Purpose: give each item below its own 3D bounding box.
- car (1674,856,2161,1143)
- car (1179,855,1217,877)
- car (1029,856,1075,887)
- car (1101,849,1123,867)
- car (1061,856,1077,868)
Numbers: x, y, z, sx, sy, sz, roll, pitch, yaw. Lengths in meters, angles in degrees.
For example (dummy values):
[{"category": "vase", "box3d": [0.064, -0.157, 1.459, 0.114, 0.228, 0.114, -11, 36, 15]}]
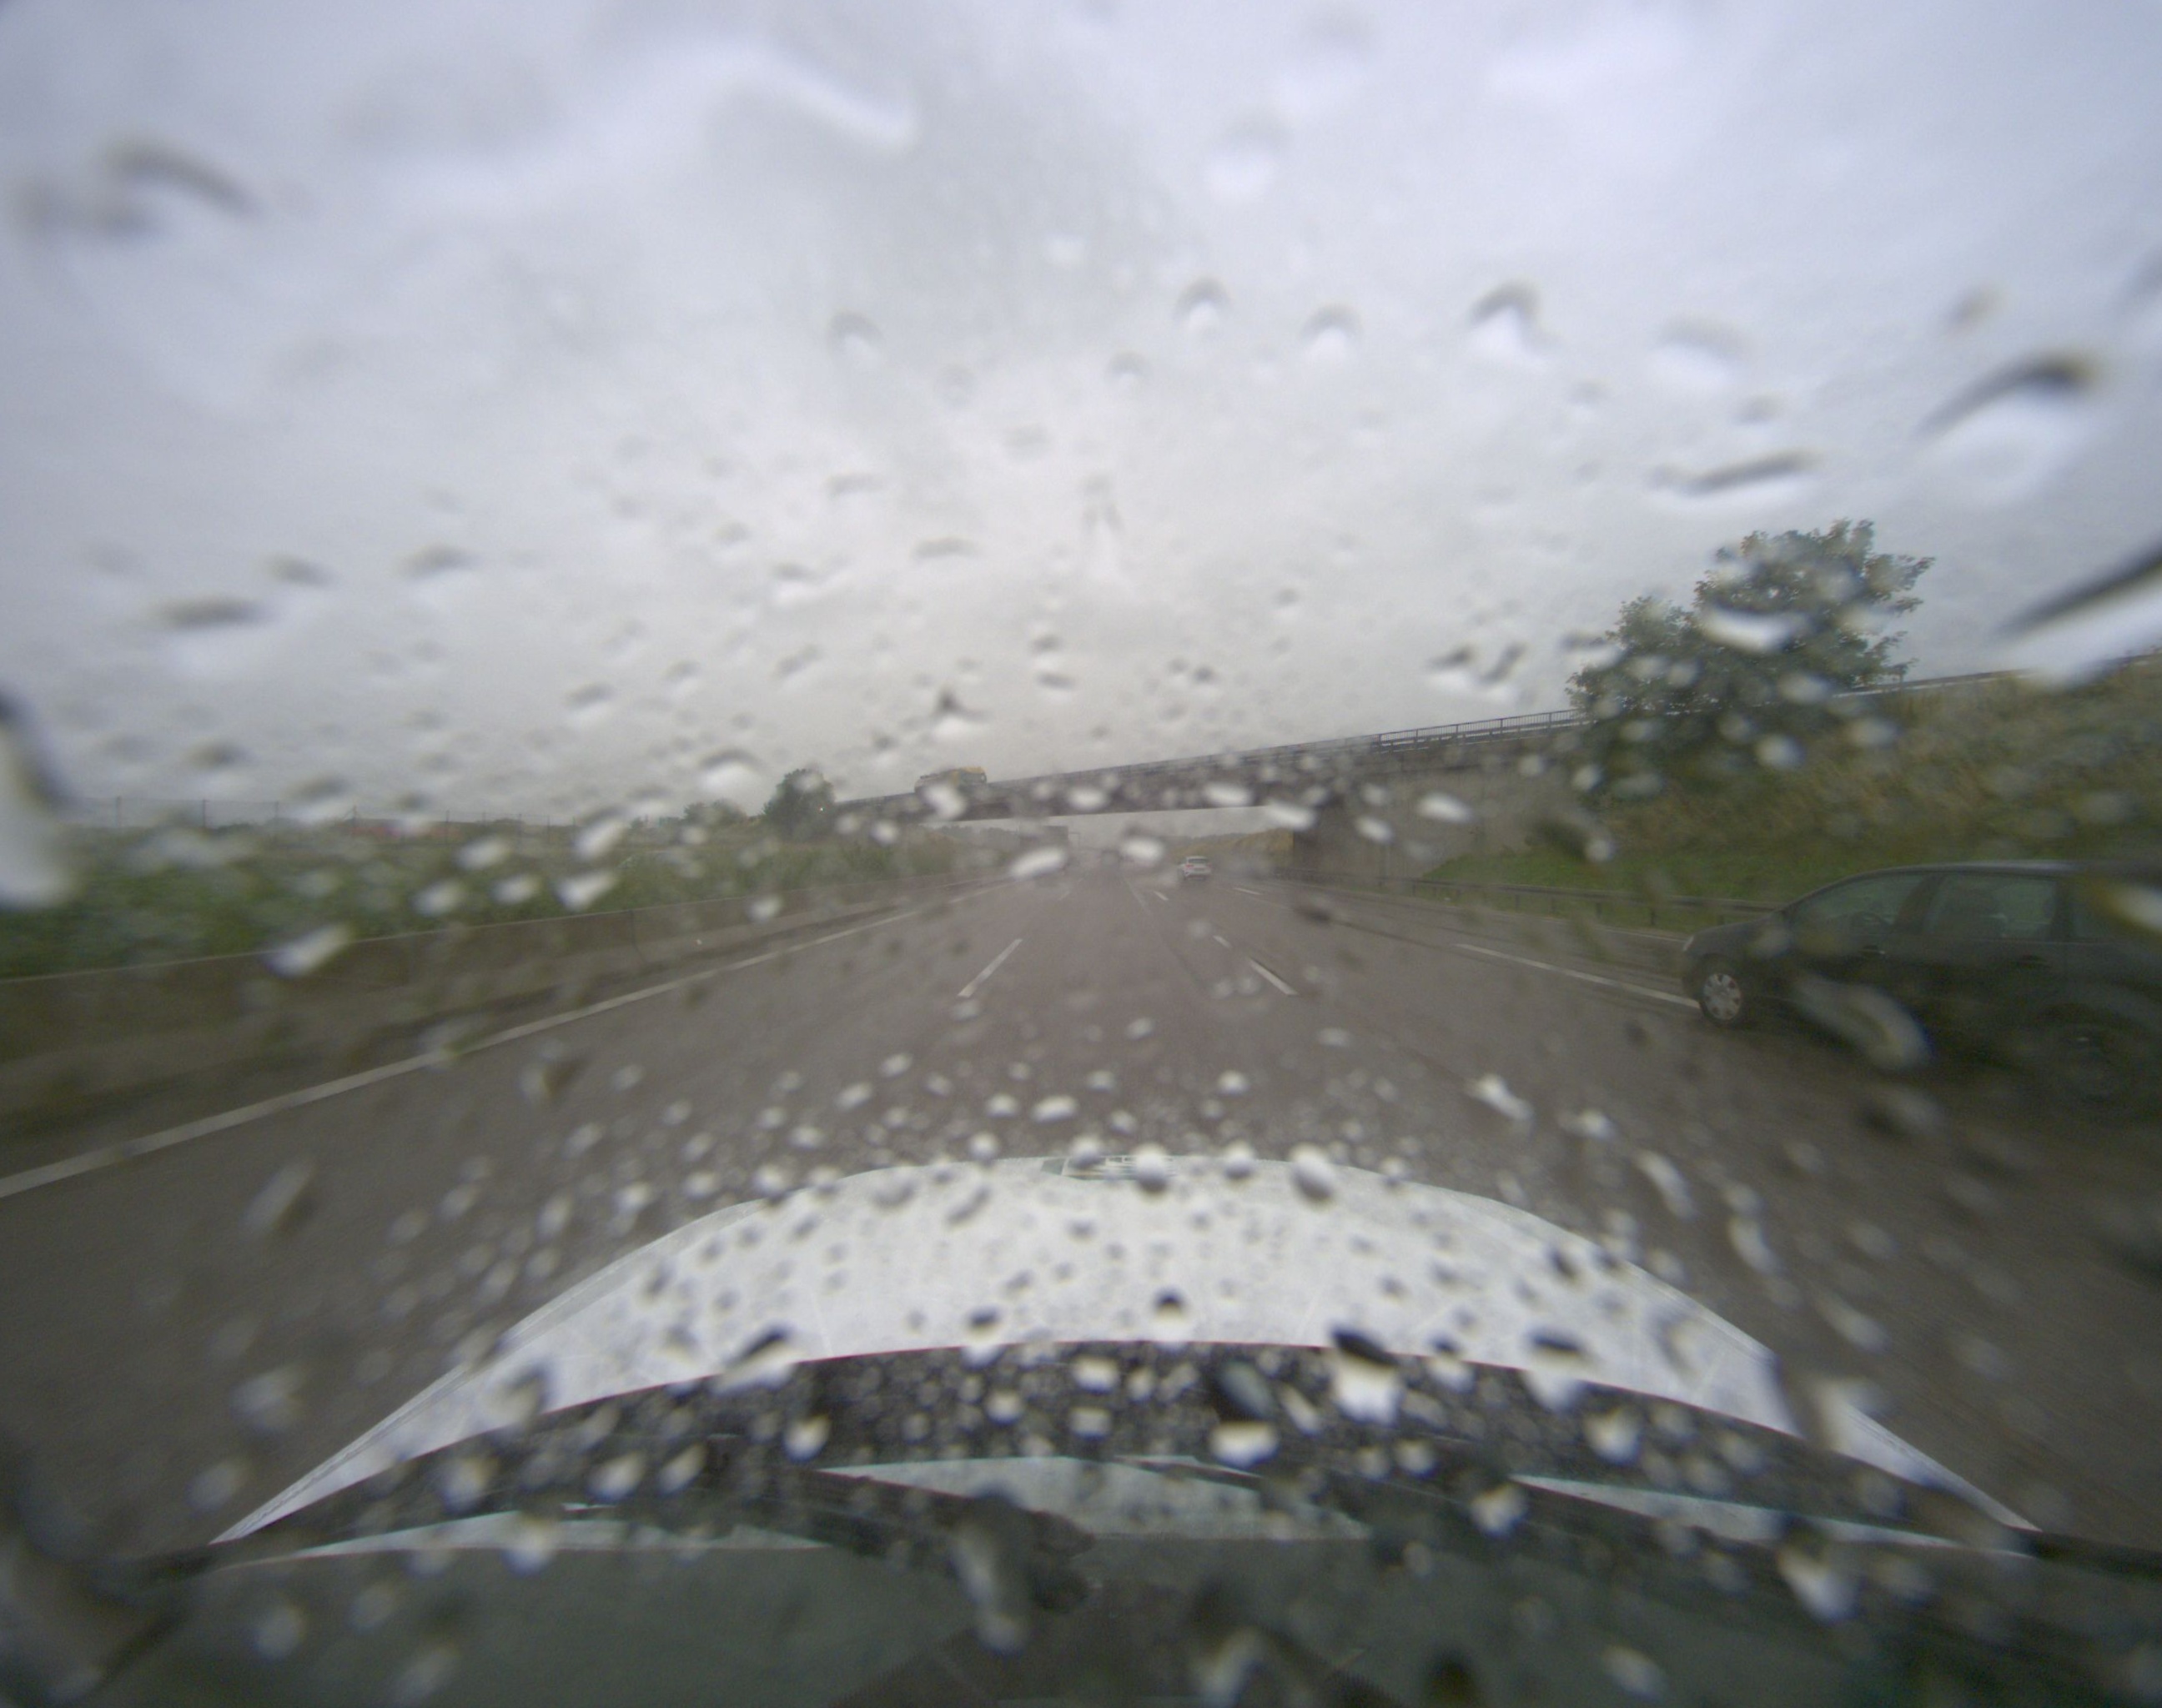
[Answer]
[{"category": "car", "box3d": [6.243, 0.732, 5.538, 1.727, 1.421, 3.656, 0, 0, -1]}, {"category": "car", "box3d": [7.103, 0.743, 49.652, 1.985, 1.266, 4.004, 0, -1, 4]}, {"category": "car", "box3d": [-1.461, 0.858, 42.445, 1.838, 1.513, 4.762, -1, 0, 4]}, {"category": "car", "box3d": [2.748, 0.381, 72.324, 1.890, 1.585, 4.002, 0, -1, 2]}, {"category": "car", "box3d": [-1.406, 0.936, 97.202, 1.682, 1.354, 4.001, 0, -1, 2]}]
